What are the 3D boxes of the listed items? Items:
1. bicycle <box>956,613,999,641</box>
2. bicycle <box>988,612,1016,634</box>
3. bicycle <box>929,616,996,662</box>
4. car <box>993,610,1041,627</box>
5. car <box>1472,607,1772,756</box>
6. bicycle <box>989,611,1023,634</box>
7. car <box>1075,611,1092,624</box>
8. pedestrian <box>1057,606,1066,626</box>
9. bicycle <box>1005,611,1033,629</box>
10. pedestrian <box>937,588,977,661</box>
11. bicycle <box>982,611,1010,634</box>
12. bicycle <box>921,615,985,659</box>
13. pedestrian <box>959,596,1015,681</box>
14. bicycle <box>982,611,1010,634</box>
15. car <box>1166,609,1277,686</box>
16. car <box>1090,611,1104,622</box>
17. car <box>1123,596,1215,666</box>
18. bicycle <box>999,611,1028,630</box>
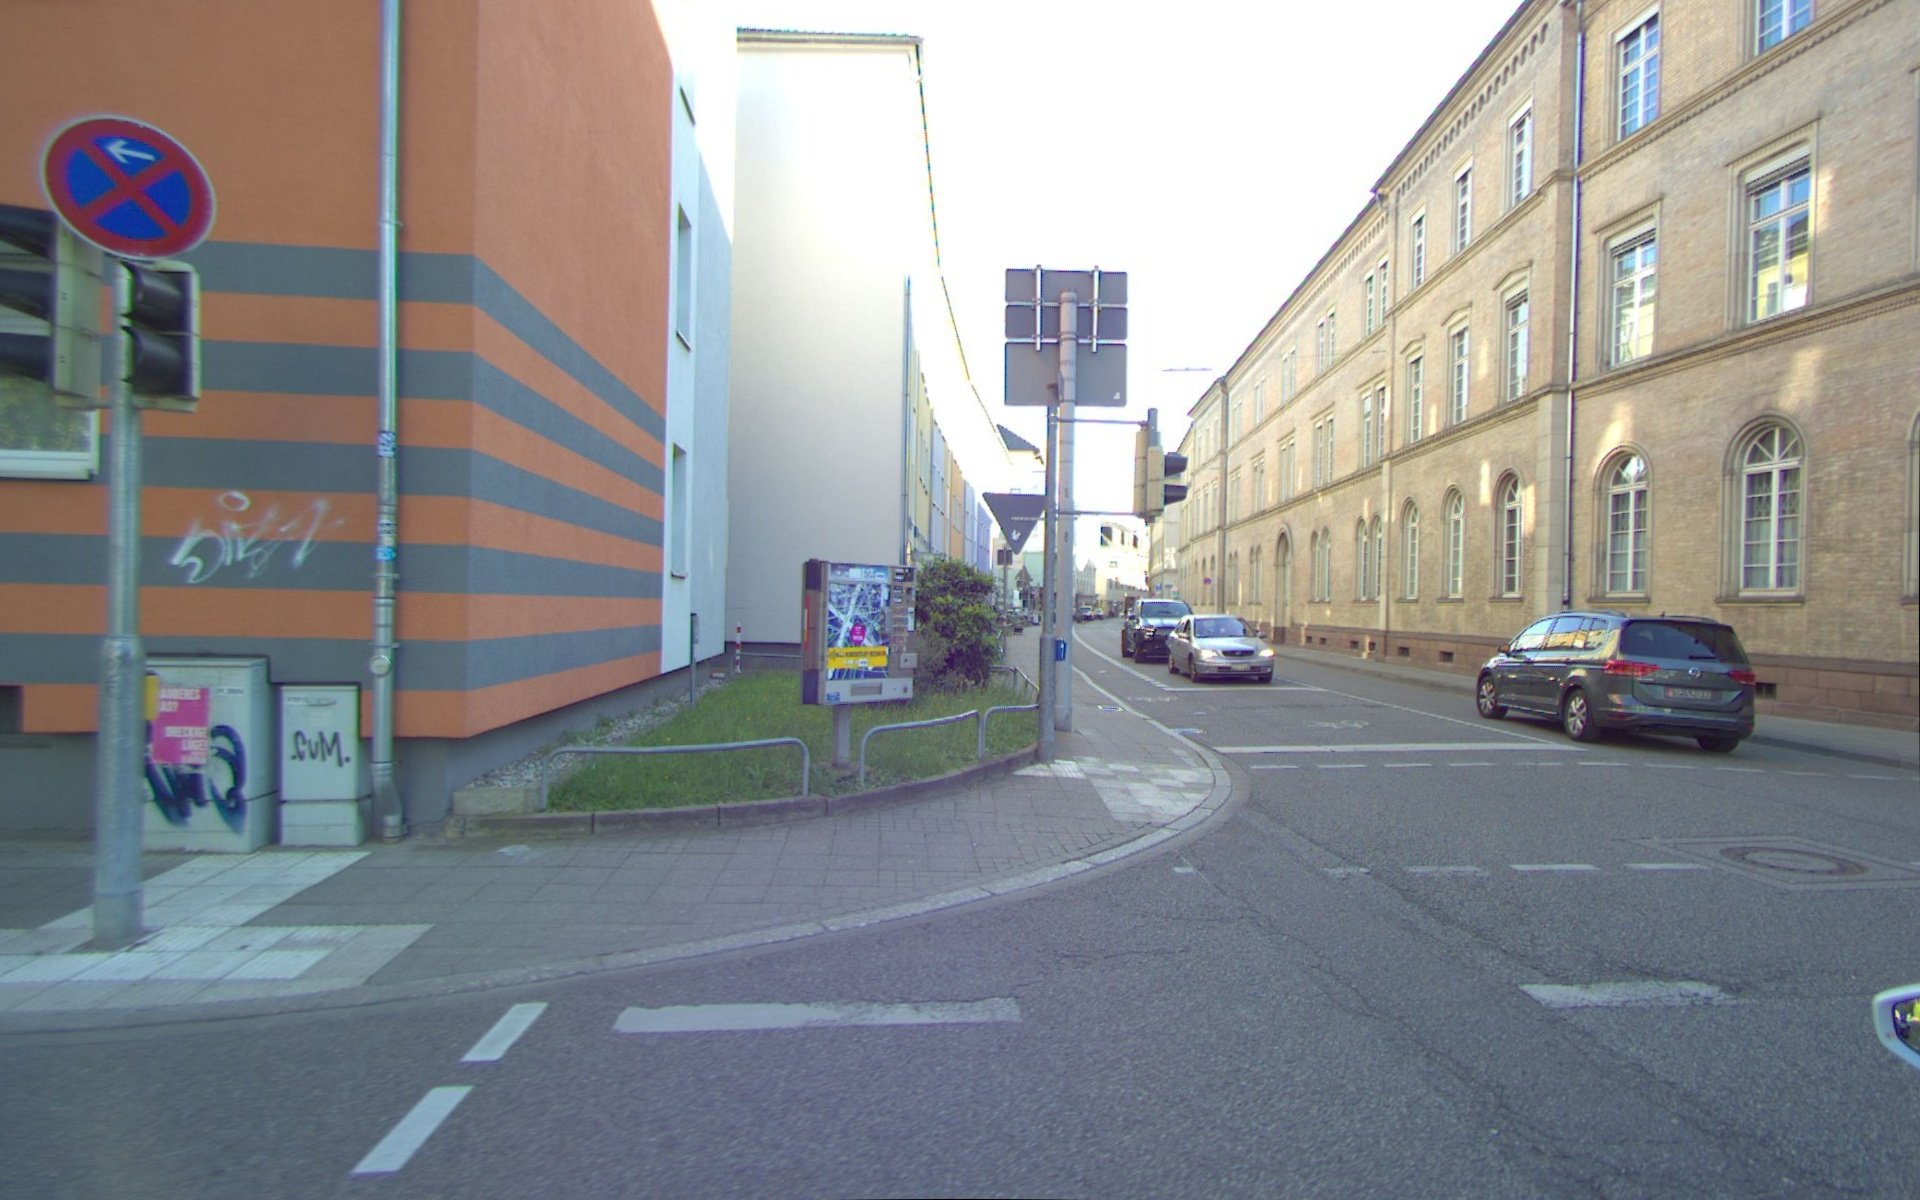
[{"bbox_3d":[0.728,1.127,42.140,1.723,1.160,0.650,1,0,-4],"label":"bicycle"},{"bbox_3d":[2.433,1.326,58.109,1.611,1.258,0.467,1,0,4],"label":"bicycle"},{"bbox_3d":[0.047,1.027,26.600,1.723,1.160,0.650,1,0,-4],"label":"bicycle"},{"bbox_3d":[5.059,1.645,88.444,4.028,1.462,1.949,0,0,8],"label":"car"},{"bbox_3d":[8.492,0.930,13.369,1.732,1.628,4.002,2,0,8],"label":"car"},{"bbox_3d":[2.713,1.313,58.805,1.974,1.248,0.623,1,0,4],"label":"bicycle"},{"bbox_3d":[15.484,2.200,125.592,1.833,1.488,3.836,1,0,11],"label":"car"},{"bbox_3d":[9.391,1.498,92.878,0.547,1.853,0.729,1,0,30],"label":"pedestrian"},{"bbox_3d":[4.220,1.457,72.449,1.898,1.195,0.613,4,-1,-3],"label":"bicycle"},{"bbox_3d":[-0.074,0.630,26.250,0.708,1.879,0.869,1,0,25],"label":"pedestrian"},{"bbox_3d":[2.008,1.279,56.470,1.553,1.258,0.384,1,0,4],"label":"bicycle"},{"bbox_3d":[-0.207,1.028,27.994,1.723,1.160,0.650,1,0,-4],"label":"bicycle"},{"bbox_3d":[0.509,0.744,19.672,0.995,1.593,1.079,1,0,-3],"label":"pedestrian"},{"bbox_3d":[2.039,1.286,56.887,1.558,1.258,0.449,1,0,4],"label":"bicycle"},{"bbox_3d":[5.674,0.978,22.260,1.711,1.506,4.138,-1,0,5],"label":"car"},{"bbox_3d":[20.044,2.423,147.147,1.833,1.488,3.836,1,0,11],"label":"car"},{"bbox_3d":[6.008,0.857,29.474,1.868,1.859,5.096,-1,-1,3],"label":"car"},{"bbox_3d":[3.800,1.434,71.015,1.901,1.195,0.612,4,-1,-10],"label":"bicycle"}]
